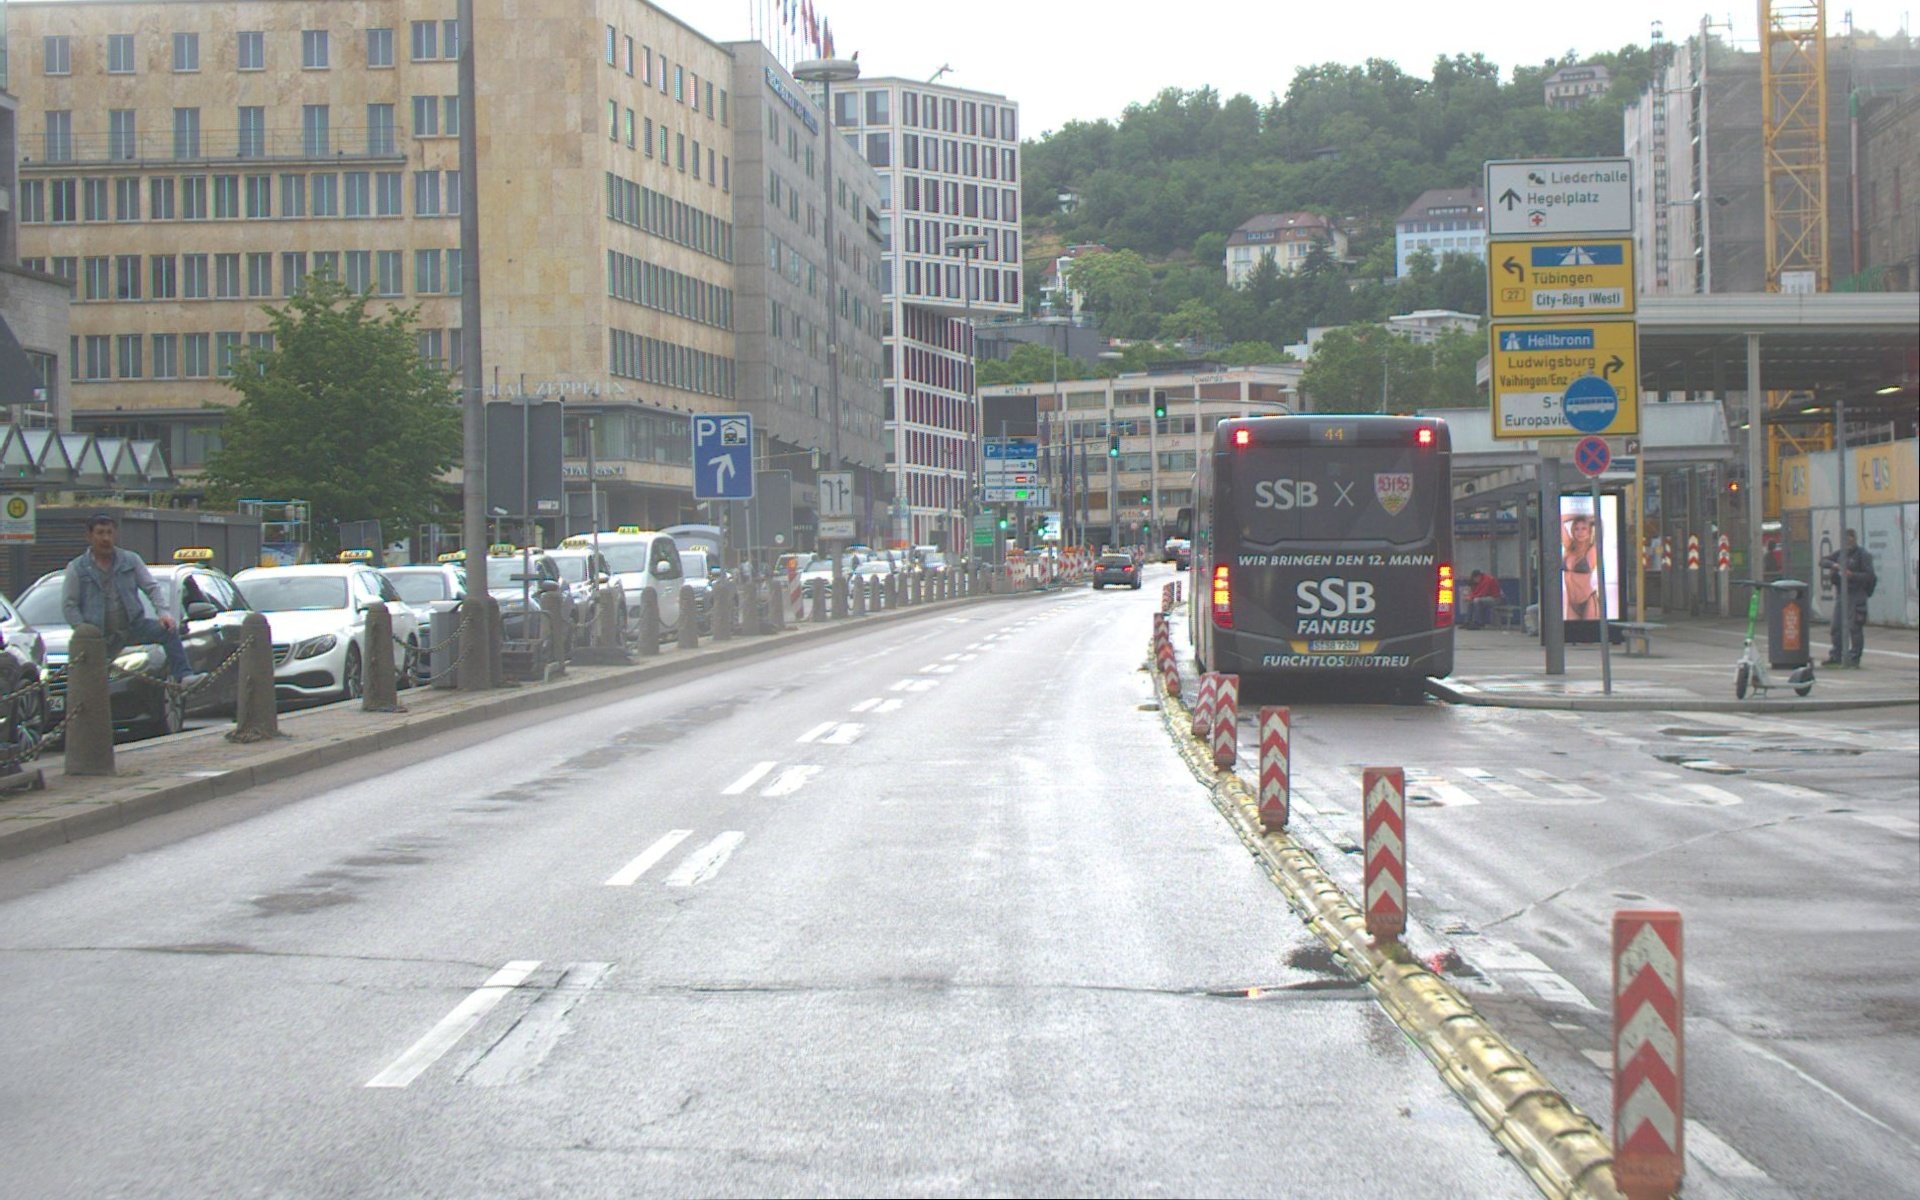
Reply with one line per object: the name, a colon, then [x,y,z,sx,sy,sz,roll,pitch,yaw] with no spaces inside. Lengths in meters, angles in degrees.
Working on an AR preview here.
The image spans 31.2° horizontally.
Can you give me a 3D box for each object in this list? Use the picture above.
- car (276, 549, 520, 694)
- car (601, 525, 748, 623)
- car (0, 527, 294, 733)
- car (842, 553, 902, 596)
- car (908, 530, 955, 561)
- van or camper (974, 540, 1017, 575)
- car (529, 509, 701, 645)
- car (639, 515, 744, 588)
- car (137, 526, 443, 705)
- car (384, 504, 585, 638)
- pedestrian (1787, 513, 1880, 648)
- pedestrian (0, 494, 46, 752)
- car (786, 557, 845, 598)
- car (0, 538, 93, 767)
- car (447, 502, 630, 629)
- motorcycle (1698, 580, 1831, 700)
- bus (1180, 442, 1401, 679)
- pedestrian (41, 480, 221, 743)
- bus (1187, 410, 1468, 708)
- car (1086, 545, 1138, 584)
car: [-6.704,0.223,41.577,1.930,1.571,5.052,-2,0,2]
car: [-5.278,-0.500,64.129,1.994,1.716,4.781,-1,1,4]
car: [-7.257,0.230,29.477,1.930,1.571,5.012,-2,0,2]
car: [-3.541,-1.041,138.875,1.962,1.559,4.835,-3,1,3]
car: [-1.577,-3.001,190.405,1.994,1.611,4.976,-1,0,6]
van or camper: [2.066,-2.463,199.042,1.994,2.007,5.188,-1,0,6]
car: [-5.805,-0.415,58.533,1.994,2.171,5.543,-1,1,4]
car: [-5.968,-1.066,76.825,1.993,1.547,4.000,-1,0,0]
car: [-6.859,0.135,35.788,1.976,1.653,5.192,-2,0,2]
car: [-6.557,-0.403,47.890,1.930,1.693,4.885,-2,0,2]
pedestrian: [10.701,-0.244,42.118,0.908,1.629,0.827,0,1,30]
pedestrian: [-6.314,0.130,21.821,0.723,1.601,0.996,1,1,2]
car: [-6.146,-0.978,146.666,1.962,1.559,4.835,-3,1,3]
car: [-7.570,0.398,23.139,1.930,1.571,5.261,-2,0,2]
car: [-6.428,-0.523,52.935,1.930,1.800,4.582,-2,0,4]
motorcycle: [8.058,0.389,34.388,0.586,1.162,1.613,1,0,42]
bus: [4.581,-0.553,49.181,2.755,3.055,8.992,1,0,3]
pedestrian: [-5.658,0.074,23.497,1.050,1.762,0.616,-1,0,2]
bus: [4.101,-0.463,40.136,2.755,3.058,9.079,1,0,3]
car: [6.262,-1.463,141.071,1.994,1.547,3.999,-1,0,4]
